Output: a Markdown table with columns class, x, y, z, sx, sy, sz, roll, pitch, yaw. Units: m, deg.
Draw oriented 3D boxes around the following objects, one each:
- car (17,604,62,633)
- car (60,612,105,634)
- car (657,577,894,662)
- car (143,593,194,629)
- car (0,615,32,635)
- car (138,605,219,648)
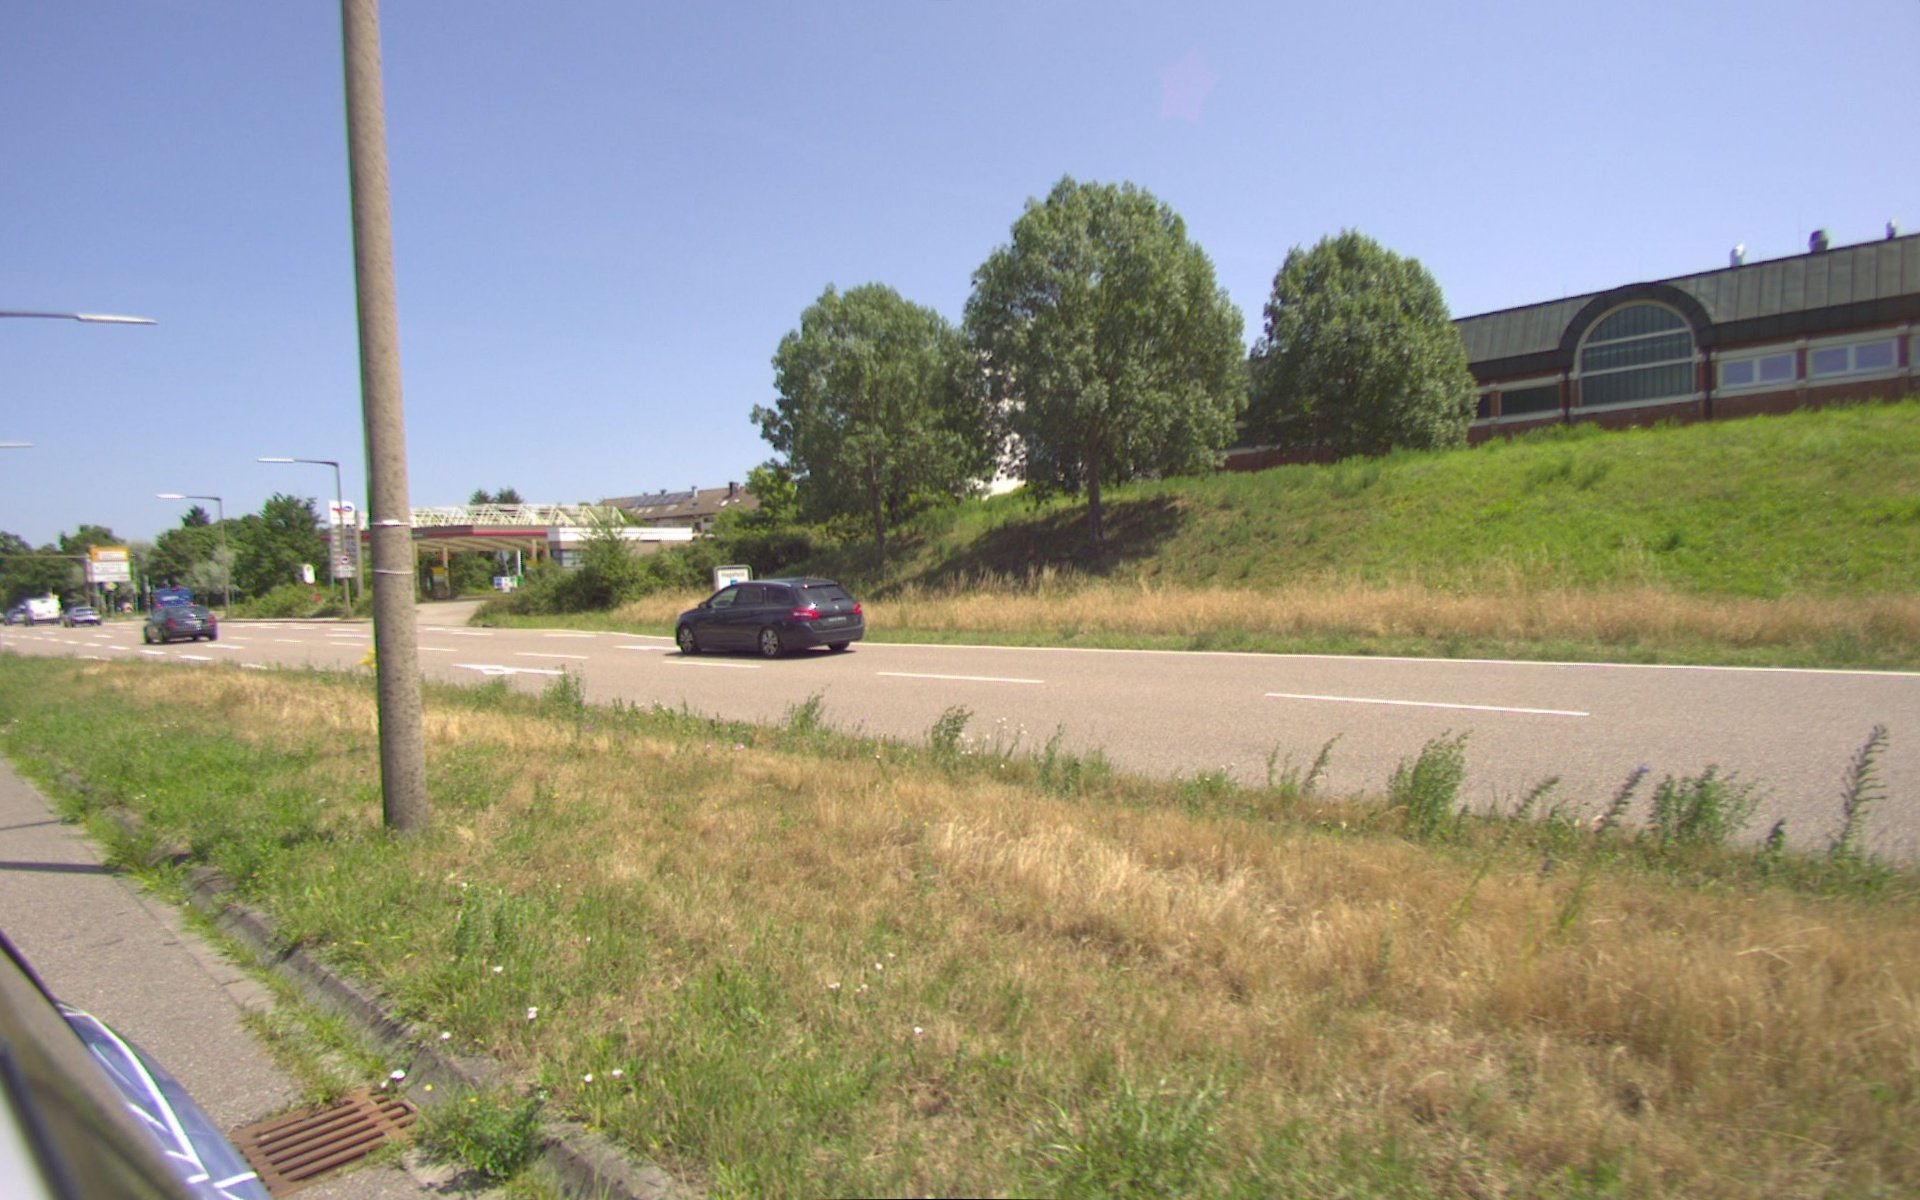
| class | x | y | z | sx | sy | sz | roll | pitch | yaw |
| --- | --- | --- | --- | --- | --- | --- | --- | --- | --- |
| car | -80.687 | 1.596 | 88.681 | 5.447 | 2.289 | 2.226 | -1 | 3 | 42 |
| car | -66.707 | 1.752 | 76.934 | 4.848 | 1.460 | 1.812 | -2 | 2 | 41 |
| car | -3.655 | 0.364 | 19.537 | 4.663 | 1.370 | 1.973 | -2 | 3 | 41 |
| car | -57.706 | 0.794 | 73.728 | 2.149 | 2.429 | 5.674 | -4 | 2 | -45 |
| car | -91.504 | 2.413 | 97.769 | 5.017 | 1.763 | 1.946 | -1 | 2 | 39 |
| car | -30.072 | 1.009 | 38.920 | 3.998 | 1.503 | 1.675 | -2 | 2 | 41 |
